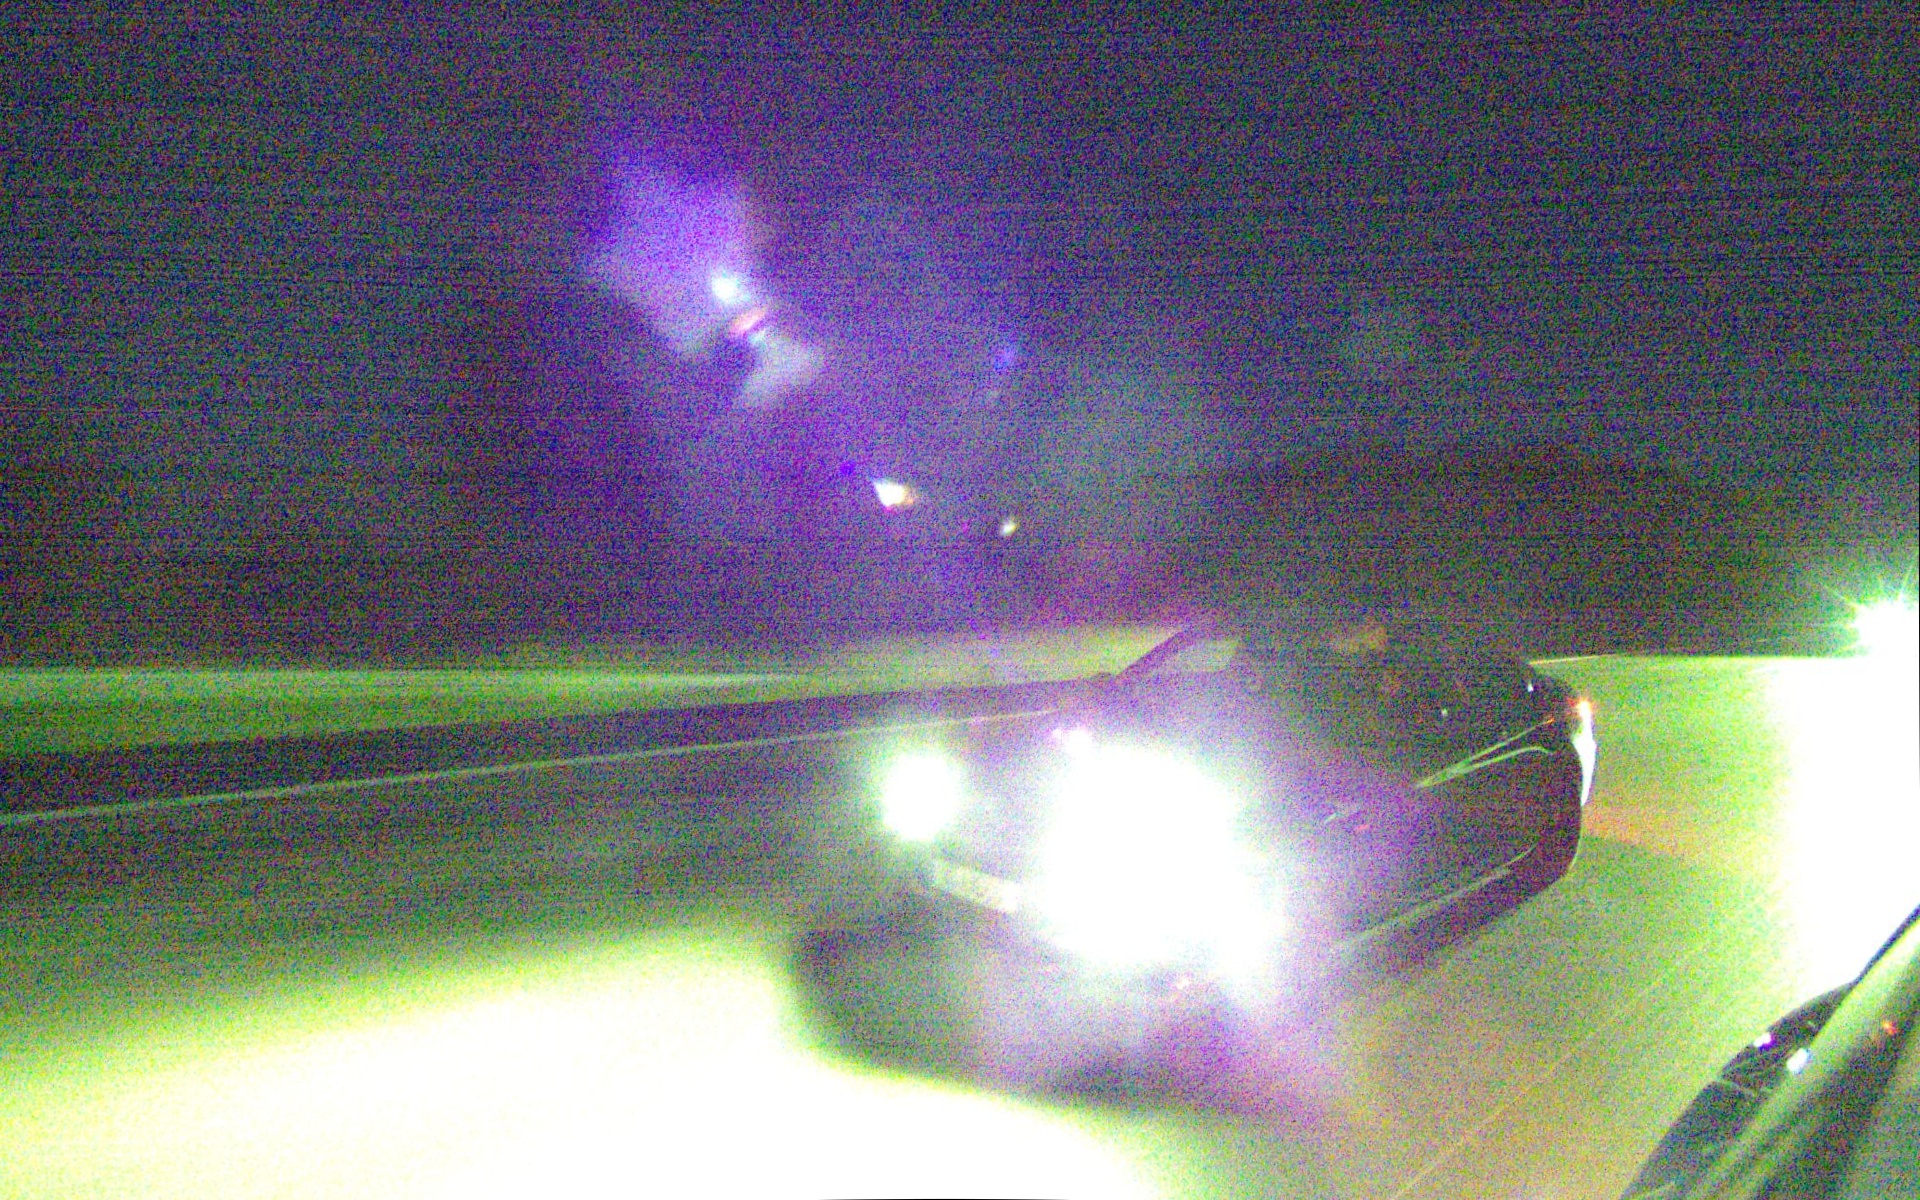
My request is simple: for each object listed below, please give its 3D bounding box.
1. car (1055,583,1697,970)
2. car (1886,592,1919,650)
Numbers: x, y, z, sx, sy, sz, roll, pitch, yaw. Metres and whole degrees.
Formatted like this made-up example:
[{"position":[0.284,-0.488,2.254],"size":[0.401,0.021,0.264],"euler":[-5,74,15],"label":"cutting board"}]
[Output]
[{"position":[2.613,0.662,5.827],"size":[4.151,1.431,1.690],"euler":[0,2,-40],"label":"car"},{"position":[27.796,0.585,28.663],"size":[4.151,1.560,1.794],"euler":[0,2,-40],"label":"car"}]
